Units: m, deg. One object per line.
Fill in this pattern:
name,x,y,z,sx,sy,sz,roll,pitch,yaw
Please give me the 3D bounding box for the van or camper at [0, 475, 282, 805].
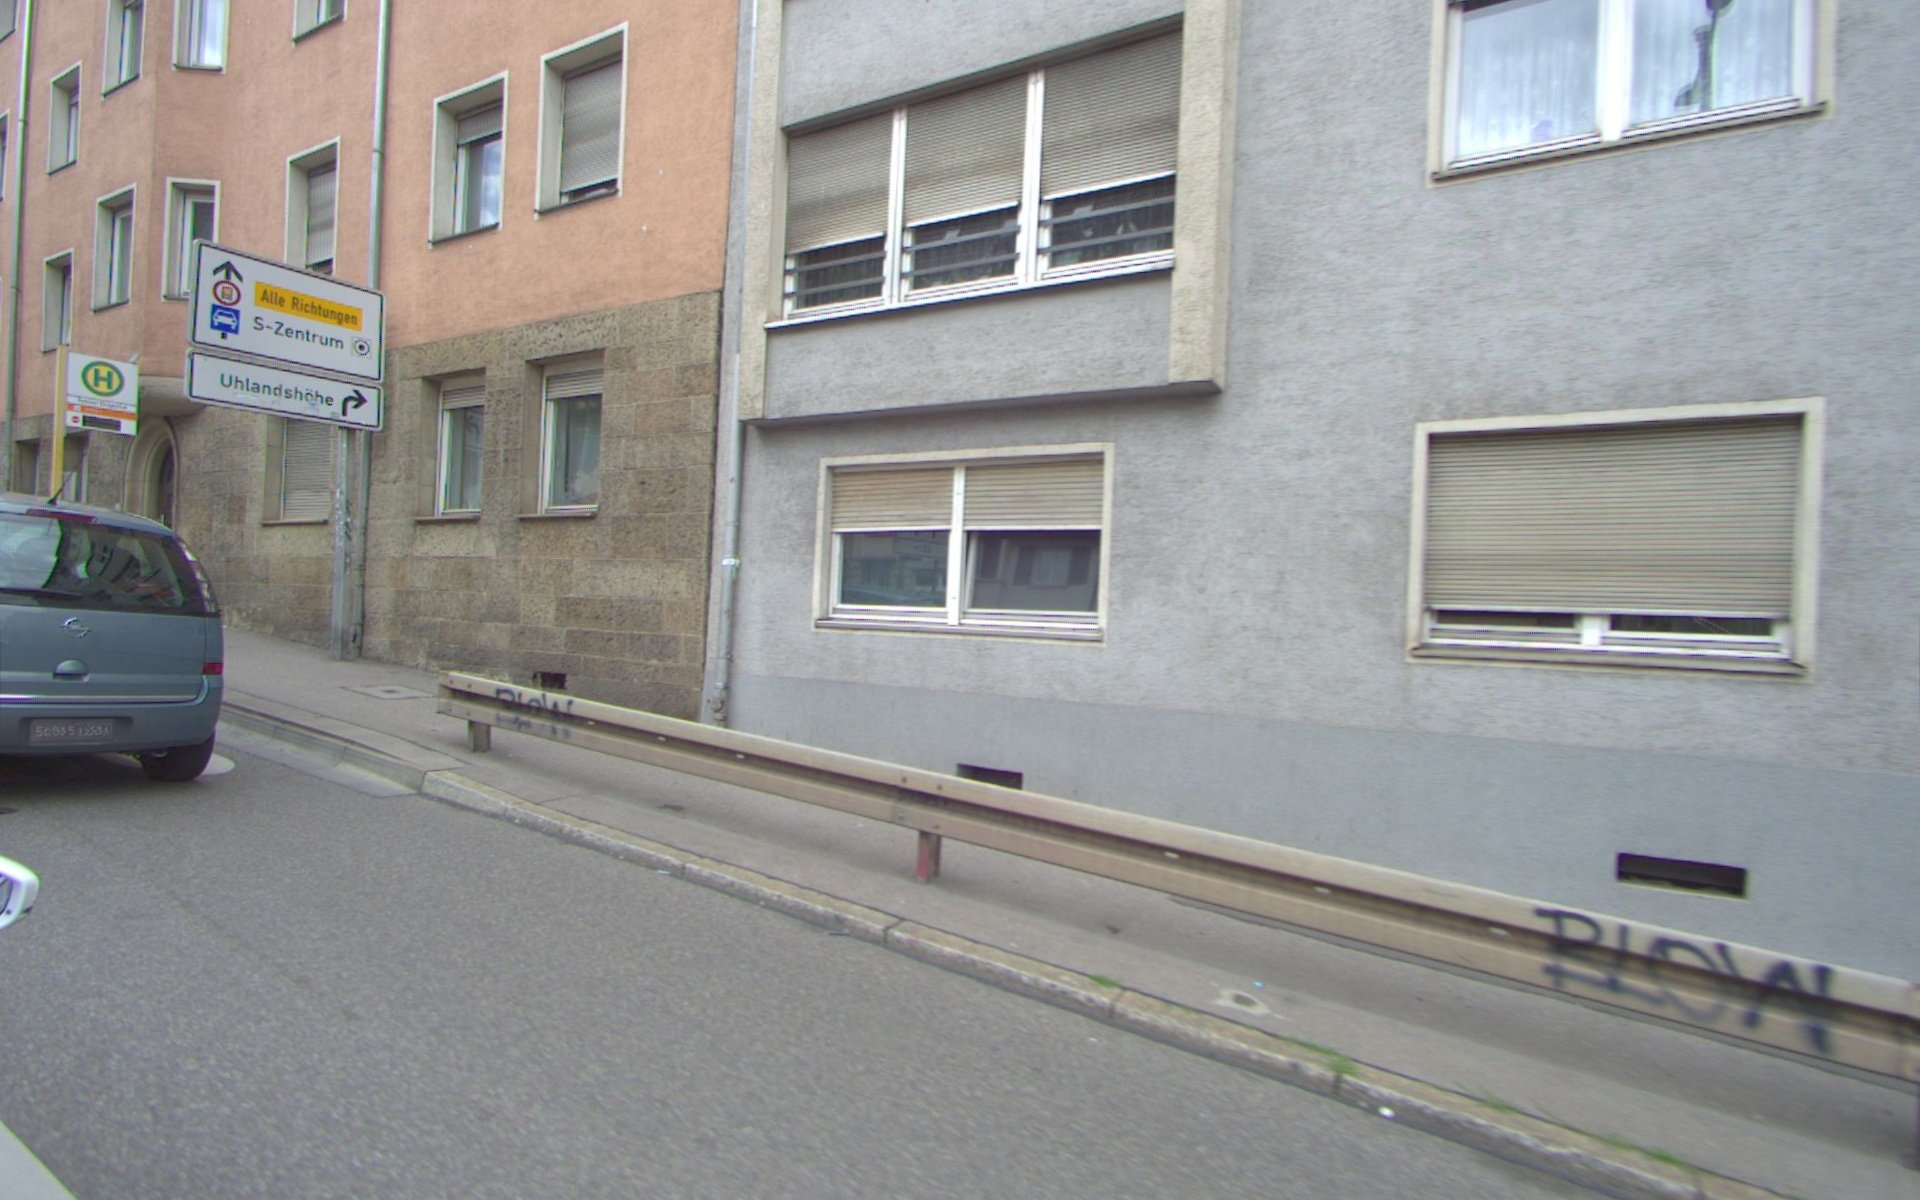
van or camper,-6.014,0.085,6.061,3.585,1.596,1.738,5,-2,31
